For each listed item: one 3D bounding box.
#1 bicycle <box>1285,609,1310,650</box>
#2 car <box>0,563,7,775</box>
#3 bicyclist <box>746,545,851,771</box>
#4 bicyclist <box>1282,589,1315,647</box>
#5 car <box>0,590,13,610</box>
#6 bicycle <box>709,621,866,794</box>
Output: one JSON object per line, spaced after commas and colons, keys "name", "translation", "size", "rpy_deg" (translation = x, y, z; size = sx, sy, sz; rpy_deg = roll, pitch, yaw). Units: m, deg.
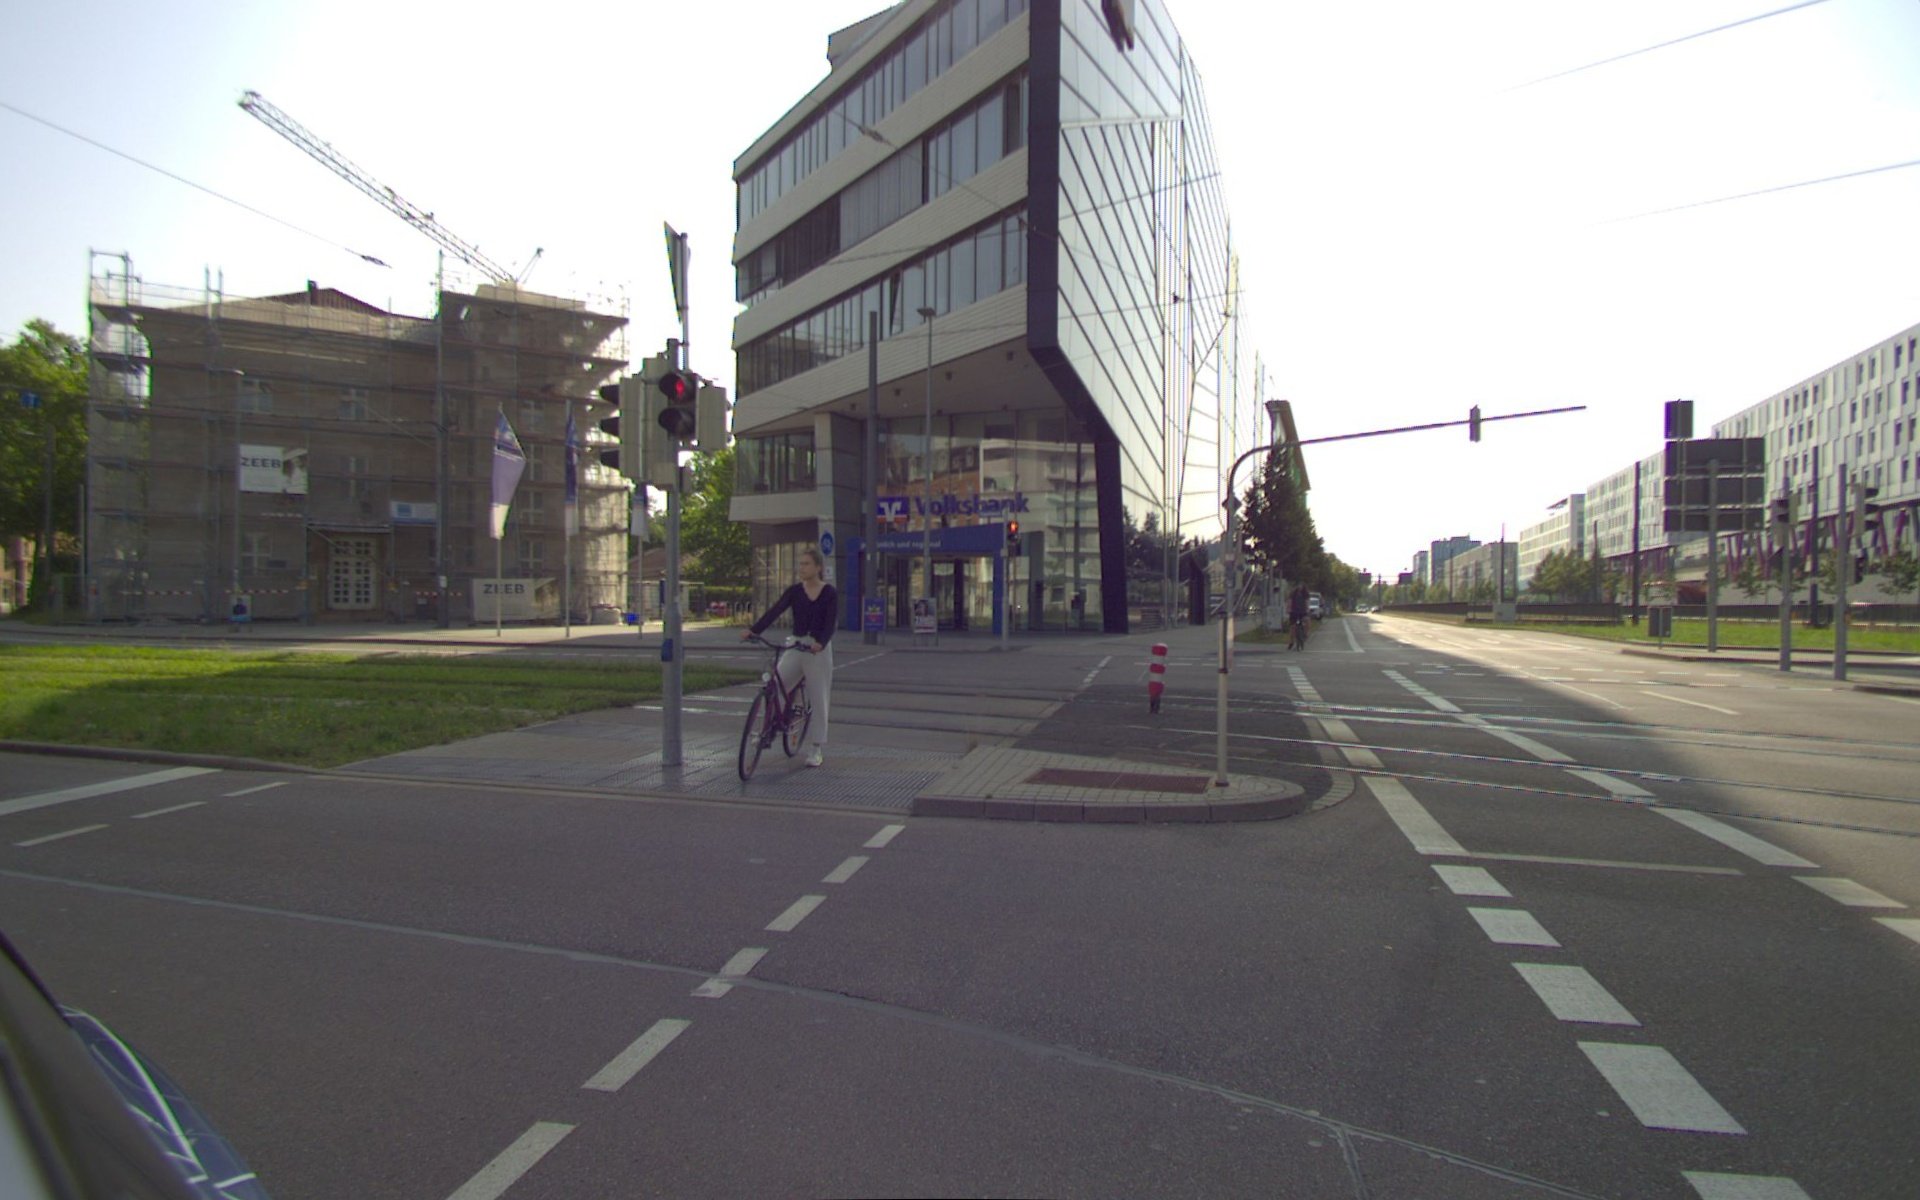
{"name": "bicycle", "translation": [9.594, 0.823, 28.752], "size": [0.417, 1.064, 1.942], "rpy_deg": [1, 2, 26]}
{"name": "car", "translation": [-9.890, 0.537, 7.939], "size": [4.188, 1.690, 1.791], "rpy_deg": [0, -1, 19]}
{"name": "bicyclist", "translation": [-1.268, 0.434, 8.042], "size": [0.662, 1.715, 0.635], "rpy_deg": [0, 1, 10]}
{"name": "bicyclist", "translation": [9.612, 0.496, 28.722], "size": [0.779, 1.598, 0.924], "rpy_deg": [1, 1, 26]}
{"name": "car", "translation": [-102.192, -0.016, 107.308], "size": [1.967, 1.993, 4.010], "rpy_deg": [-1, 2, -35]}
{"name": "bicycle", "translation": [-1.292, 0.765, 7.955], "size": [0.662, 1.106, 1.799], "rpy_deg": [0, 1, 10]}
